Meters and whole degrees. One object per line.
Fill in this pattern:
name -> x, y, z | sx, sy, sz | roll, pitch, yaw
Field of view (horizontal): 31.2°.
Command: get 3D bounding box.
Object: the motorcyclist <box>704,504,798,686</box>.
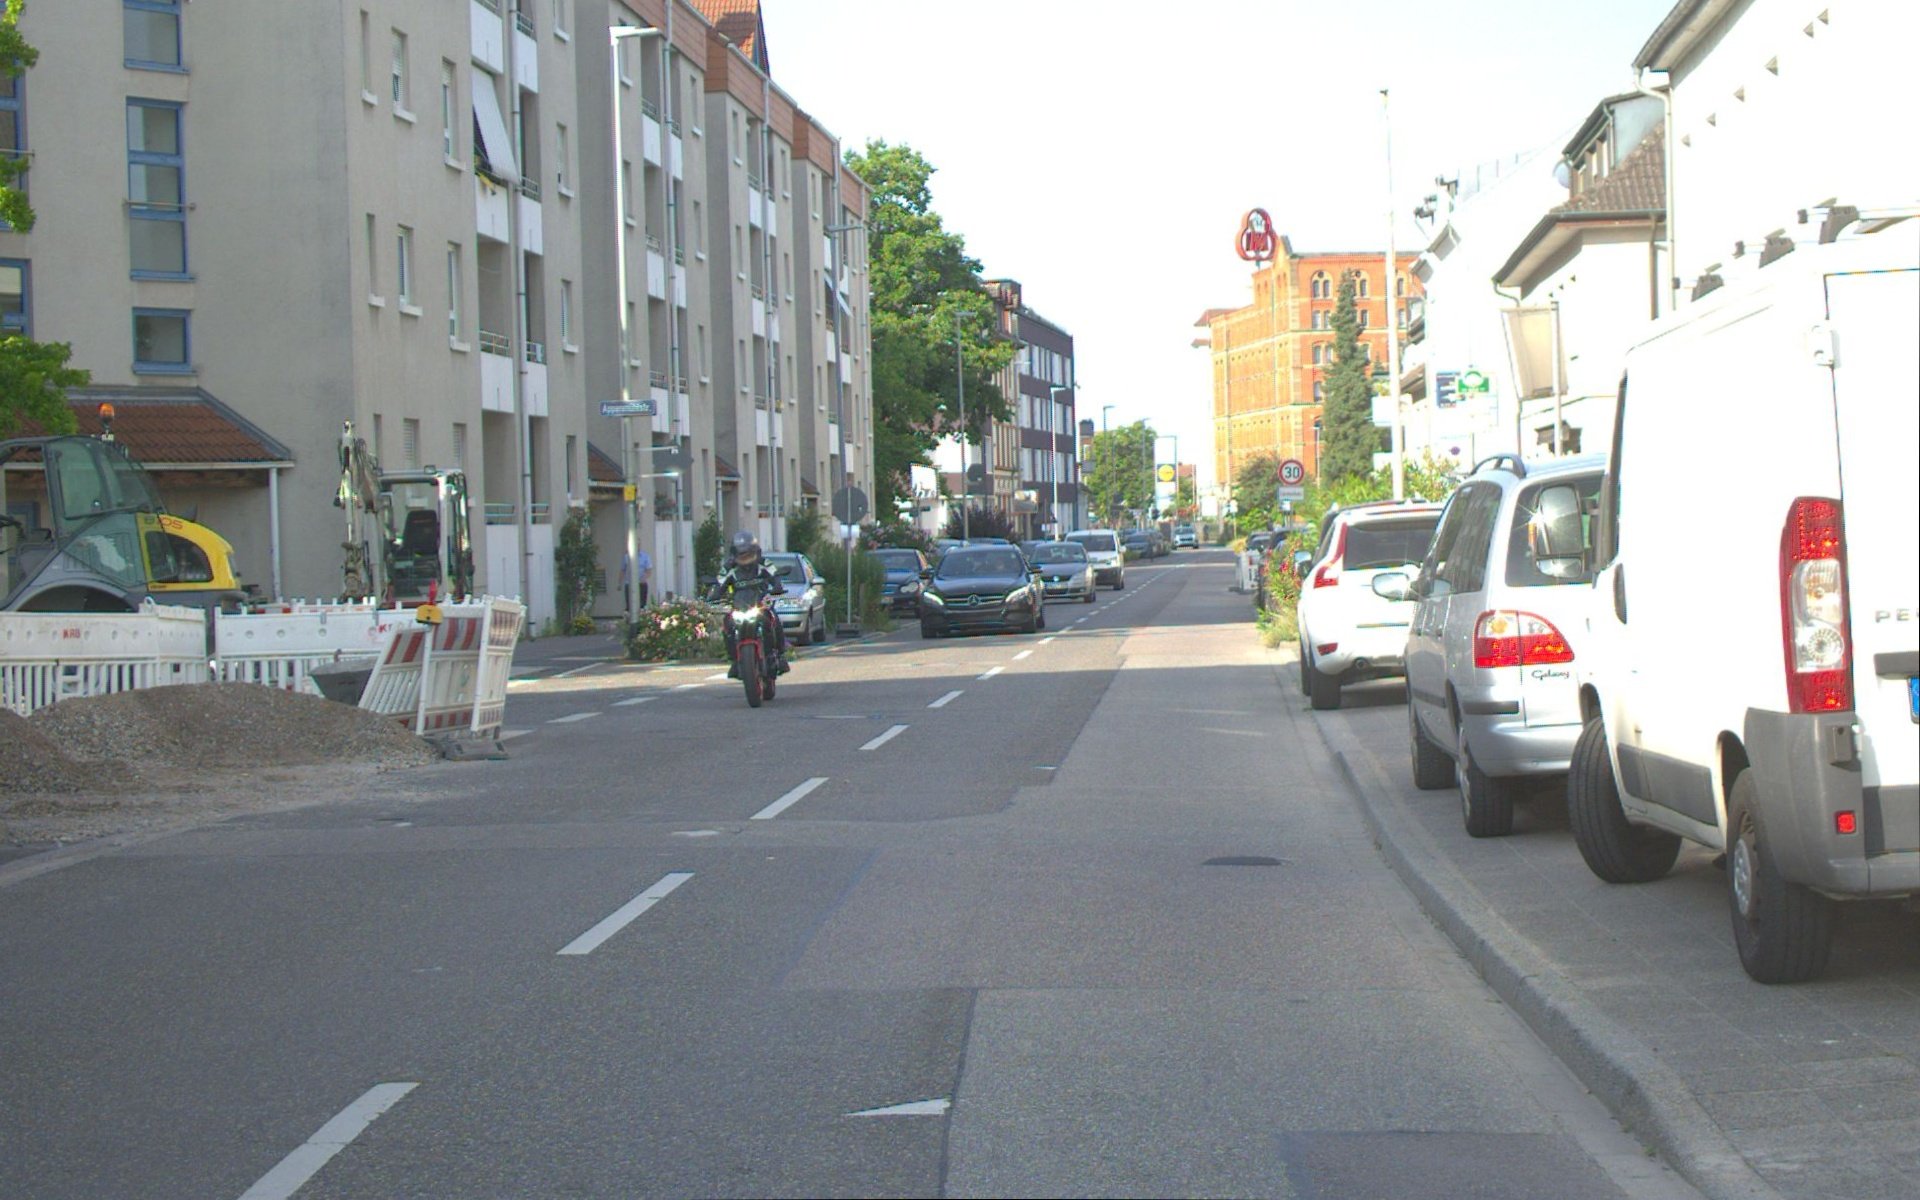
motorcyclist -> -1.930, -0.054, 31.805 | 0.769, 1.646, 0.843 | -1, 1, 1

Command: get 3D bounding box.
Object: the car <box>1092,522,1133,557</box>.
car -> 8.319, -3.297, 187.482 | 1.994, 1.875, 3.999 | -1, 1, 5

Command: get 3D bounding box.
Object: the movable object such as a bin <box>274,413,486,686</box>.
movable object such as a bin -> -7.011, -0.638, 41.936 | 1.648, 3.127, 3.900 | -2, 2, 3

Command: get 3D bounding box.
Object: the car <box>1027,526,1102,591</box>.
car -> 2.505, -0.997, 81.701 | 1.618, 1.450, 3.685 | -2, 1, 3

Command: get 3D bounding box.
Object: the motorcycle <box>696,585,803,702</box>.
motorcycle -> -1.927, 0.387, 31.717 | 0.768, 0.981, 2.199 | -1, 1, 2

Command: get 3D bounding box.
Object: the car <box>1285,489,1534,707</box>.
car -> 3.835, -0.081, 29.936 | 1.812, 1.678, 4.476 | -3, 2, 4

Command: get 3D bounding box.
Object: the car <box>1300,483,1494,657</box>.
car -> 5.167, -0.412, 40.821 | 2.076, 1.849, 4.609 | -3, 2, 7

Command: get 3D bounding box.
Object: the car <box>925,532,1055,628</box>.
car -> 0.525, -0.352, 55.269 | 1.830, 1.415, 4.209 | -2, 1, 3

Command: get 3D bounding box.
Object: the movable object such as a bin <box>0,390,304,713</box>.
movable object such as a bin -> -8.916, -0.460, 31.891 | 5.495, 2.890, 2.113 | -1, 2, -10

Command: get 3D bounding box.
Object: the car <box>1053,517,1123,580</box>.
car -> 3.839, -1.555, 102.628 | 1.922, 1.761, 4.338 | -2, 1, 3

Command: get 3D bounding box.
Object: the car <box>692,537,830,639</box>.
car -> -2.974, -0.207, 51.986 | 1.640, 1.390, 3.671 | -2, 1, 3

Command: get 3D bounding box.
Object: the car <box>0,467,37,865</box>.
car -> -5.619, 0.378, 15.237 | 1.727, 1.954, 4.439 | -1, 2, 2

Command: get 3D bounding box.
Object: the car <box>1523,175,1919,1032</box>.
car -> 3.412, -0.102, 11.845 | 2.174, 2.319, 4.997 | -3, 2, 2

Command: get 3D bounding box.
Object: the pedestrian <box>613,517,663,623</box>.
pedestrian -> -5.575, -0.523, 59.620 | 0.719, 1.812, 0.745 | -1, 1, 5

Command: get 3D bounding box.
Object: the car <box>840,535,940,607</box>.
car -> -1.401, -0.610, 70.015 | 1.686, 1.401, 4.084 | -1, 1, 4

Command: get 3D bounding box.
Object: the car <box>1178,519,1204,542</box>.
car -> 16.904, -5.091, 251.697 | 1.764, 1.610, 4.000 | -2, 1, 5

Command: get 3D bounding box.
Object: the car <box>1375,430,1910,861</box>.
car -> 3.155, 0.130, 16.773 | 1.778, 1.735, 4.483 | -3, 2, 2
